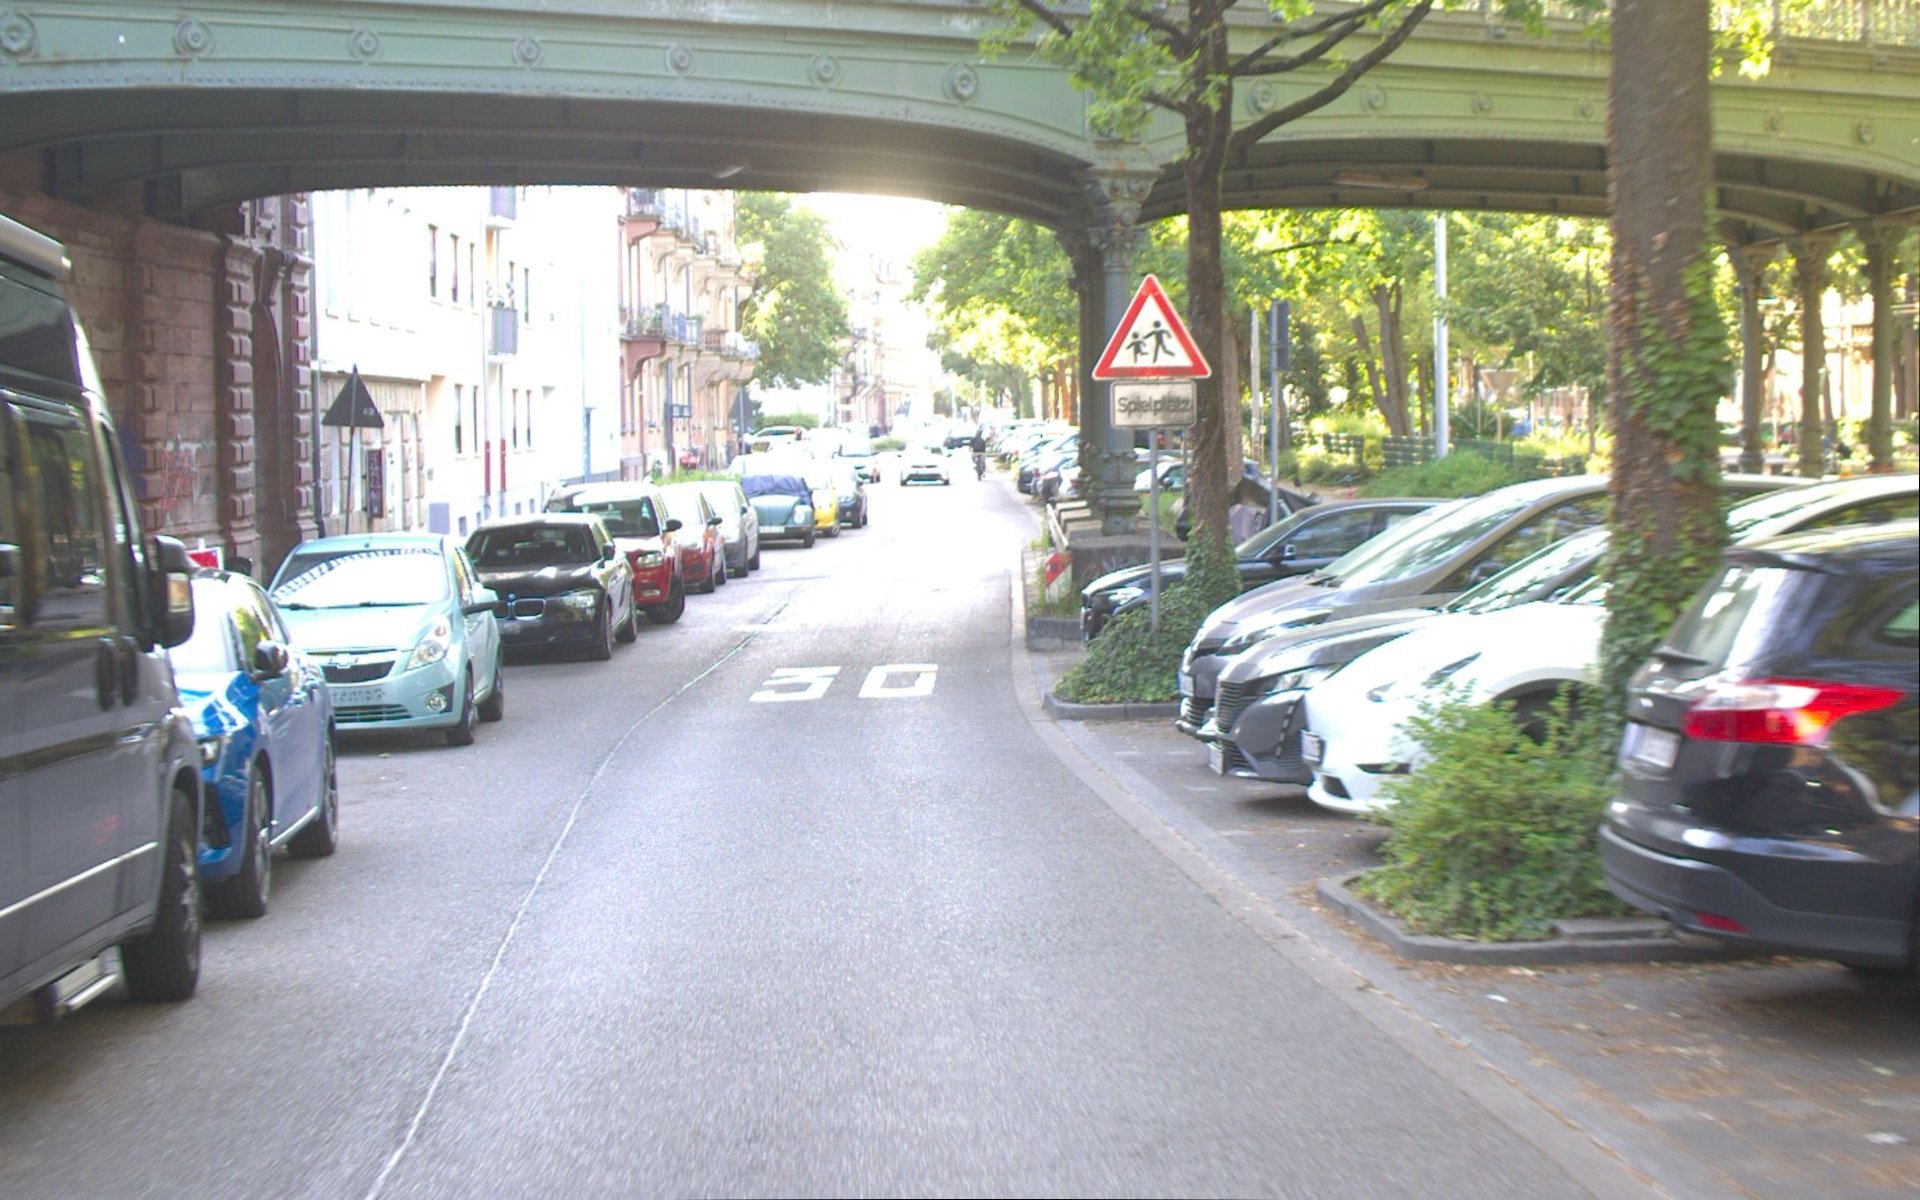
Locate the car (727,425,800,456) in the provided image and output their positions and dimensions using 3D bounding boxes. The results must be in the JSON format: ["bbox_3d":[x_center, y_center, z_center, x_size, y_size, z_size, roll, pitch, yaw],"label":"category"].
[{"bbox_3d":[-11.266,-9.123,197.213,3.987,1.700,2.000,0,1,1],"label":"car"}]

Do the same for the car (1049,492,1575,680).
[{"bbox_3d":[3.013,-0.137,30.012,4.374,1.572,1.675,0,1,-2],"label":"car"}]

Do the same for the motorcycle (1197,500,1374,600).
[{"bbox_3d":[3.750,-0.578,39.615,1.831,1.128,0.851,0,1,-23],"label":"motorcycle"}]

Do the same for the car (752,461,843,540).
[{"bbox_3d":[-3.324,-2.068,70.865,1.702,1.520,3.774,-1,3,0],"label":"car"}]

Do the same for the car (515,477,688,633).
[{"bbox_3d":[-4.245,-0.589,41.271,1.716,1.702,4.323,-2,2,-2],"label":"car"}]

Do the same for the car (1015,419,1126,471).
[{"bbox_3d":[4.293,-6.030,133.538,4.220,1.857,1.762,-2,3,1],"label":"car"}]

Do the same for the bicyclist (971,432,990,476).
[{"bbox_3d":[0.745,-5.289,124.814,0.627,1.567,0.802,0,1,-1],"label":"bicyclist"}]

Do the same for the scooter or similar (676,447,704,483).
[{"bbox_3d":[-9.608,-4.803,122.507,0.783,1.218,2.704,0,1,0],"label":"scooter or similar"}]

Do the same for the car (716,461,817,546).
[{"bbox_3d":[-3.640,-1.859,65.210,1.567,1.512,3.783,-1,3,2],"label":"car"}]

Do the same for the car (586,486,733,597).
[{"bbox_3d":[-4.226,-0.867,48.808,1.689,1.436,4.001,-1,3,0],"label":"car"}]

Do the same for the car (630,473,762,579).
[{"bbox_3d":[-4.078,-1.185,53.587,1.637,1.461,4.001,-4,3,1],"label":"car"}]

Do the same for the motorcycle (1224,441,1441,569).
[{"bbox_3d":[3.667,-0.931,33.866,1.929,1.233,0.905,0,1,-25],"label":"motorcycle"}]

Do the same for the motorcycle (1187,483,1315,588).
[{"bbox_3d":[3.976,-0.885,46.936,1.601,1.403,0.712,1,1,20],"label":"motorcycle"}]

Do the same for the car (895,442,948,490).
[{"bbox_3d":[-1.320,-4.660,119.298,1.668,1.425,4.001,-3,4,1],"label":"car"}]

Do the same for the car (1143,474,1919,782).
[{"bbox_3d":[3.375,0.143,20.184,4.373,1.702,1.907,0,1,-4],"label":"car"}]

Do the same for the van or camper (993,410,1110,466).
[{"bbox_3d":[3.999,-7.077,150.504,4.981,2.369,2.185,0,1,-2],"label":"van or camper"}]

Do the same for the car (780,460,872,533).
[{"bbox_3d":[-2.932,-2.292,75.729,1.739,1.474,4.001,-2,3,1],"label":"car"}]

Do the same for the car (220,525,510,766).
[{"bbox_3d":[-4.323,0.268,25.452,1.594,1.542,3.916,-2,2,-3],"label":"car"}]

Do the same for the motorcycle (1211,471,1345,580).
[{"bbox_3d":[4.141,-0.979,44.810,1.601,1.403,0.712,1,1,20],"label":"motorcycle"}]

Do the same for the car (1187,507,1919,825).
[{"bbox_3d":[3.444,0.305,17.676,4.374,1.527,1.876,0,1,-2],"label":"car"}]

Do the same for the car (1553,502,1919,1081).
[{"bbox_3d":[3.920,0.512,10.154,4.020,1.568,1.587,0,1,-2],"label":"car"}]

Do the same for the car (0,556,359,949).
[{"bbox_3d":[-3.815,0.564,15.429,1.744,1.461,4.376,0,1,-4],"label":"car"}]

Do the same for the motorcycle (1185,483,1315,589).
[{"bbox_3d":[3.895,-0.866,46.119,1.601,1.403,0.712,1,1,20],"label":"motorcycle"}]

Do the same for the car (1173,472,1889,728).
[{"bbox_3d":[3.742,-0.014,23.143,4.587,1.600,1.734,-1,1,4],"label":"car"}]

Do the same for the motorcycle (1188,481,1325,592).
[{"bbox_3d":[3.785,-0.815,43.905,1.601,1.403,0.712,1,1,20],"label":"motorcycle"}]

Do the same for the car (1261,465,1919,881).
[{"bbox_3d":[3.698,0.287,15.062,4.532,1.690,1.908,0,1,-2],"label":"car"}]

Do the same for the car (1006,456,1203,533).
[{"bbox_3d":[2.829,-2.076,67.698,3.782,1.396,1.827,-1,1,1],"label":"car"}]

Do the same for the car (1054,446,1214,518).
[{"bbox_3d":[4.204,-2.850,83.415,3.782,1.640,1.664,-1,1,1],"label":"car"}]

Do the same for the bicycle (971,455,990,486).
[{"bbox_3d":[0.743,-4.692,124.907,0.641,1.096,1.944,0,1,-1],"label":"bicycle"}]

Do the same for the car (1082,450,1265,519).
[{"bbox_3d":[4.671,-2.524,75.574,3.781,1.396,1.767,-2,1,-4],"label":"car"}]

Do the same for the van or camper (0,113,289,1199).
[{"bbox_3d":[-3.435,0.088,9.562,2.235,2.514,6.423,0,1,-3],"label":"van or camper"}]

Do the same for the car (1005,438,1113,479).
[{"bbox_3d":[3.984,-5.694,138.011,4.220,1.448,1.649,-2,3,4],"label":"car"}]

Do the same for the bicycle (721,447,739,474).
[{"bbox_3d":[-9.739,-5.904,145.564,0.705,1.143,1.890,0,1,-3],"label":"bicycle"}]

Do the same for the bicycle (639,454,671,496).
[{"bbox_3d":[-9.271,-3.818,104.504,0.737,1.202,2.514,0,4,1],"label":"bicycle"}]

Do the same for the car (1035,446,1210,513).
[{"bbox_3d":[4.179,-3.087,88.137,4.400,1.572,1.664,-1,1,5],"label":"car"}]

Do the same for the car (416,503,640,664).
[{"bbox_3d":[-4.378,-0.217,35.377,1.717,1.459,4.001,-2,2,1],"label":"car"}]

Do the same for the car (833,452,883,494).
[{"bbox_3d":[-3.690,-4.601,124.675,1.504,1.430,2.753,-2,3,4],"label":"car"}]

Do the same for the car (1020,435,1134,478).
[{"bbox_3d":[4.350,-5.368,128.263,4.081,1.437,1.762,-3,3,-2],"label":"car"}]
